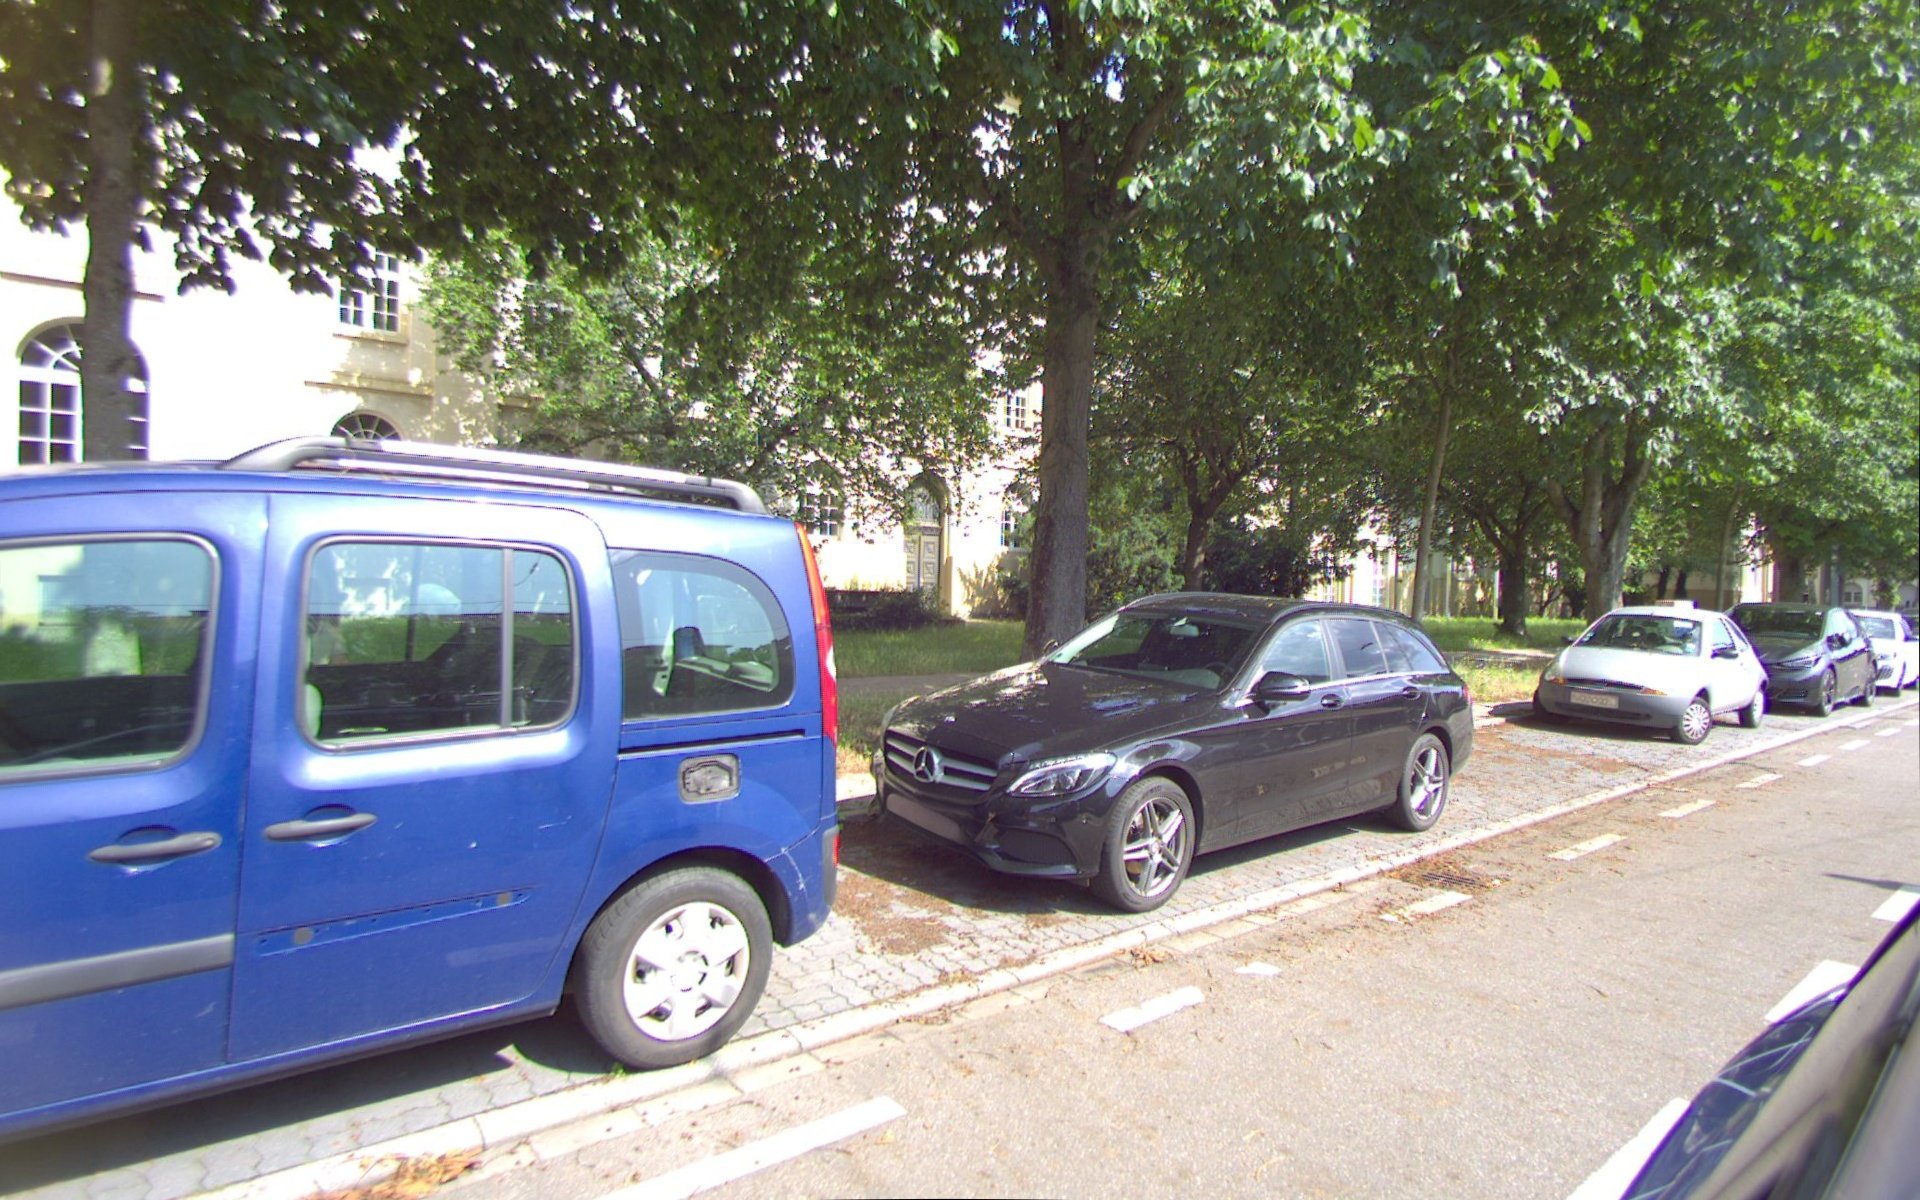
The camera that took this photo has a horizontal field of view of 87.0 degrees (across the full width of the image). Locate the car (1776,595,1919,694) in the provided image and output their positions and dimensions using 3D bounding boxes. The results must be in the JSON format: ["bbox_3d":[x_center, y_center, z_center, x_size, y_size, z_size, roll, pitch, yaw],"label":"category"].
[{"bbox_3d":[16.877,0.741,18.863,4.179,1.542,1.839,0,3,-41],"label":"car"}]

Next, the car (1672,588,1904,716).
[{"bbox_3d":[12.645,0.691,15.351,4.591,1.603,1.730,1,2,-38],"label":"car"}]

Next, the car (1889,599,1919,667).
[{"bbox_3d":[23.589,0.804,24.207,3.497,1.478,1.559,-1,5,-41],"label":"car"}]

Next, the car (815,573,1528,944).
[{"bbox_3d":[1.618,0.672,6.480,4.711,1.459,1.922,1,3,-40],"label":"car"}]

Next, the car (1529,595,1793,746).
[{"bbox_3d":[8.440,0.724,12.103,3.532,1.462,1.595,0,3,-39],"label":"car"}]

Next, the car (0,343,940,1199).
[{"bbox_3d":[-2.279,0.405,2.930,4.106,1.919,1.828,1,2,-37],"label":"car"}]

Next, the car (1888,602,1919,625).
[{"bbox_3d":[76.303,1.081,79.357,1.820,1.676,4.843,-1,2,-28],"label":"car"}]
